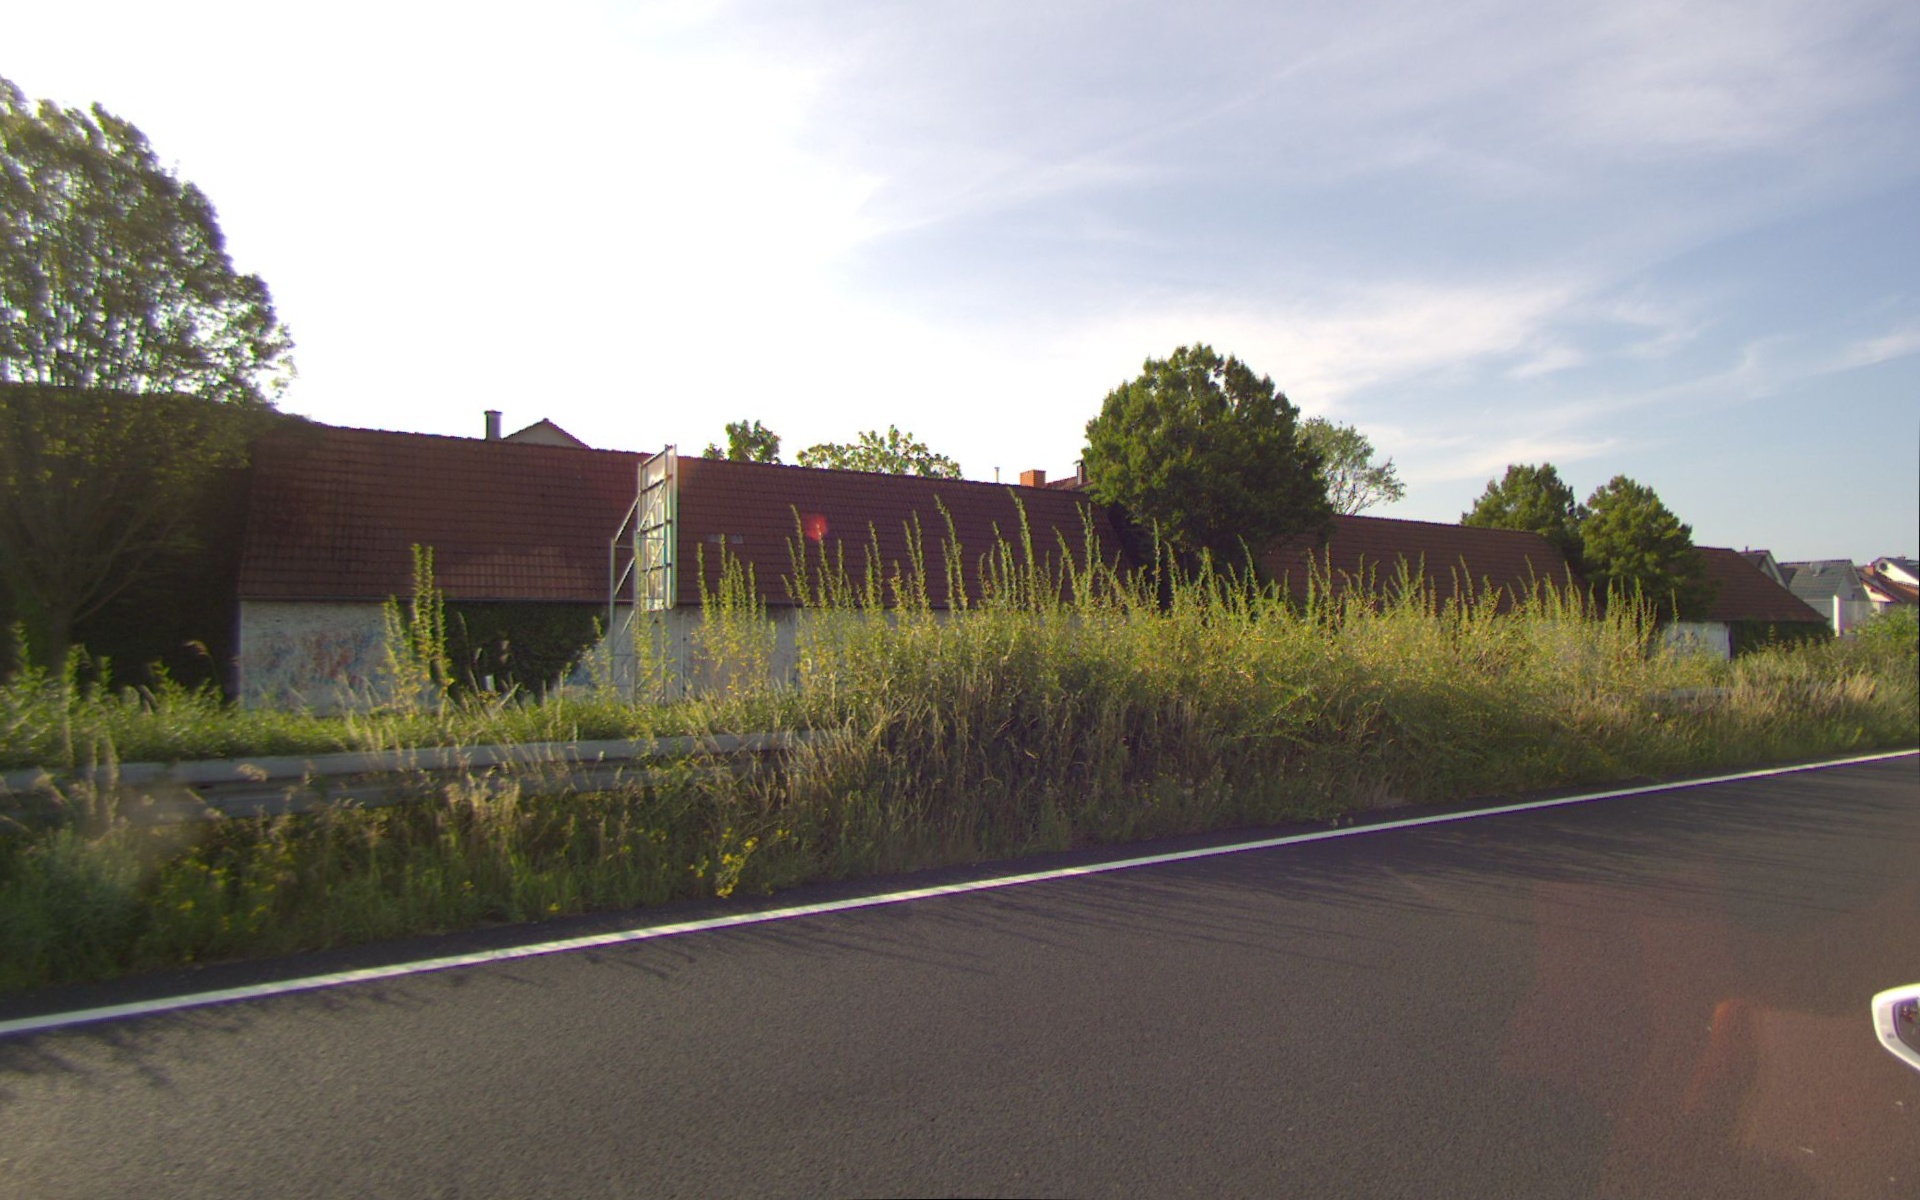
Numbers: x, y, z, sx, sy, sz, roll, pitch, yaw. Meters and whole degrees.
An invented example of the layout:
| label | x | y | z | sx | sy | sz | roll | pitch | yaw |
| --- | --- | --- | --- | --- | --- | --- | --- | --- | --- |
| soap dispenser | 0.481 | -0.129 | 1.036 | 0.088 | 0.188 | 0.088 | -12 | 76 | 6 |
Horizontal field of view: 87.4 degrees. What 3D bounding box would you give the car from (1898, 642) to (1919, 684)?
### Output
| label | x | y | z | sx | sy | sz | roll | pitch | yaw |
| --- | --- | --- | --- | --- | --- | --- | --- | --- | --- |
| car | 36.866 | 2.370 | 37.429 | 4.137 | 1.528 | 1.680 | 2 | -1 | -31 |
